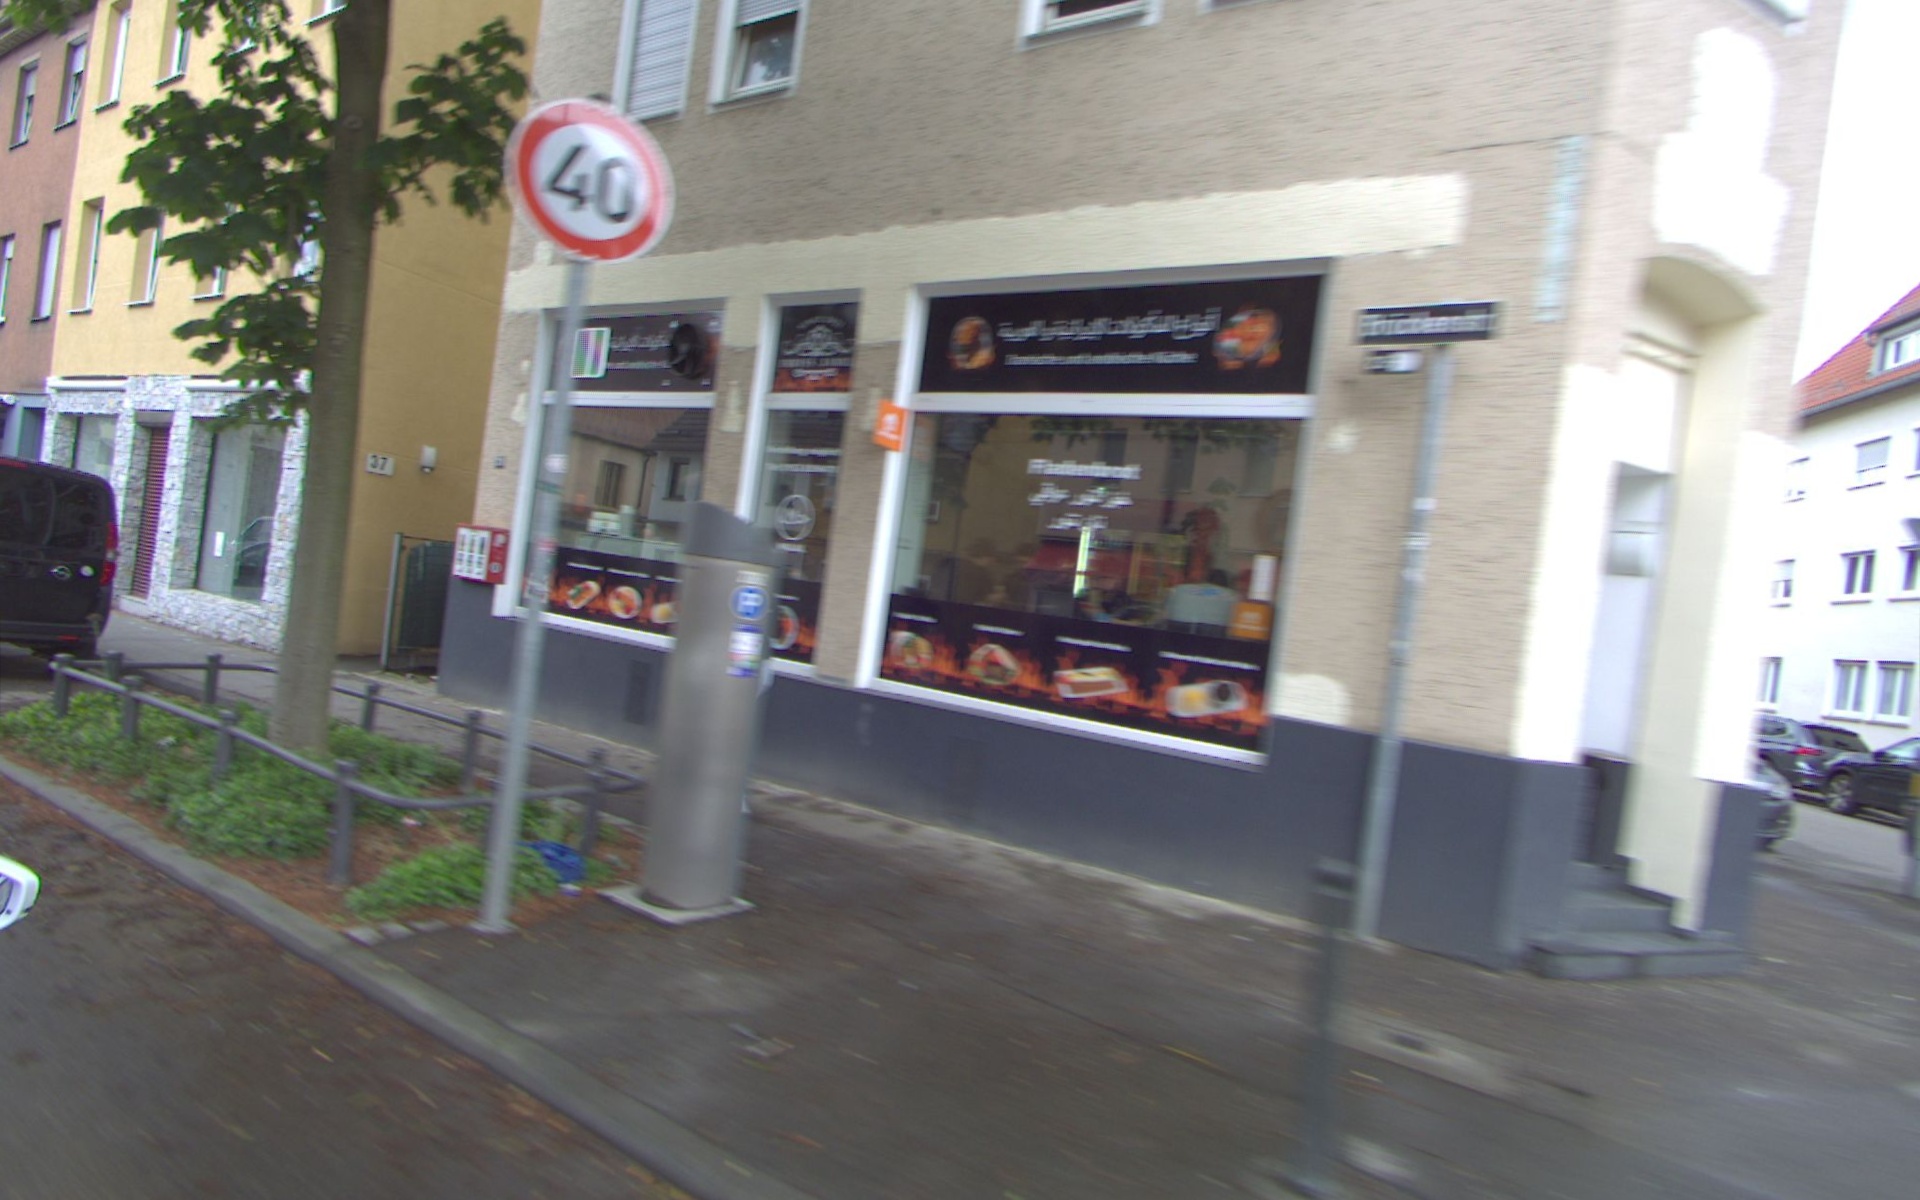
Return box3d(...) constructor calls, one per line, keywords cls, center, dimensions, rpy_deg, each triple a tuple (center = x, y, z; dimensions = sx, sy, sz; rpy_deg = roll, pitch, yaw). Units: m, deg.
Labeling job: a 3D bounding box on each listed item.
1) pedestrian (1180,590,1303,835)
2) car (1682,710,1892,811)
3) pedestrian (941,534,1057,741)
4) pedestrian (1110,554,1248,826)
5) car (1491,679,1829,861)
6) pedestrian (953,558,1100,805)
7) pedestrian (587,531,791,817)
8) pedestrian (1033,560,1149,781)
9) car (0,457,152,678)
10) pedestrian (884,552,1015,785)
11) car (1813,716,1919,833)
box3d(cls="pedestrian", center=(1.969, 0.766, 7.003), dimensions=(0.512, 1.579, 0.568), rpy_deg=(7, -1, 31))
box3d(cls="car", center=(17.672, 3.367, 21.754), dimensions=(1.741, 1.530, 3.735), rpy_deg=(7, -1, 10))
box3d(cls="pedestrian", center=(0.324, 0.307, 8.178), dimensions=(0.552, 1.579, 0.568), rpy_deg=(7, -1, 31))
box3d(cls="pedestrian", center=(1.383, 0.555, 6.317), dimensions=(0.512, 1.579, 0.568), rpy_deg=(7, -1, 31))
box3d(cls="car", center=(8.738, 2.007, 13.103), dimensions=(1.850, 1.640, 4.239), rpy_deg=(7, -2, 10))
box3d(cls="pedestrian", center=(0.468, 0.557, 7.017), dimensions=(0.644, 1.579, 0.568), rpy_deg=(7, -1, 31))
box3d(cls="pedestrian", center=(-1.778, 0.454, 6.609), dimensions=(0.966, 1.673, 0.615), rpy_deg=(8, 1, 30))
box3d(cls="pedestrian", center=(1.010, 0.537, 7.710), dimensions=(0.512, 1.579, 0.568), rpy_deg=(7, -1, 31))
box3d(cls="car", center=(-9.757, -0.491, 9.406), dimensions=(4.328, 1.802, 1.823), rpy_deg=(7, -1, 29))
box3d(cls="pedestrian", center=(-0.072, 0.492, 7.326), dimensions=(0.547, 1.579, 0.568), rpy_deg=(7, -1, 31))
box3d(cls="car", center=(16.670, 3.111, 16.660), dimensions=(1.742, 1.701, 4.235), rpy_deg=(10, 0, 10))
